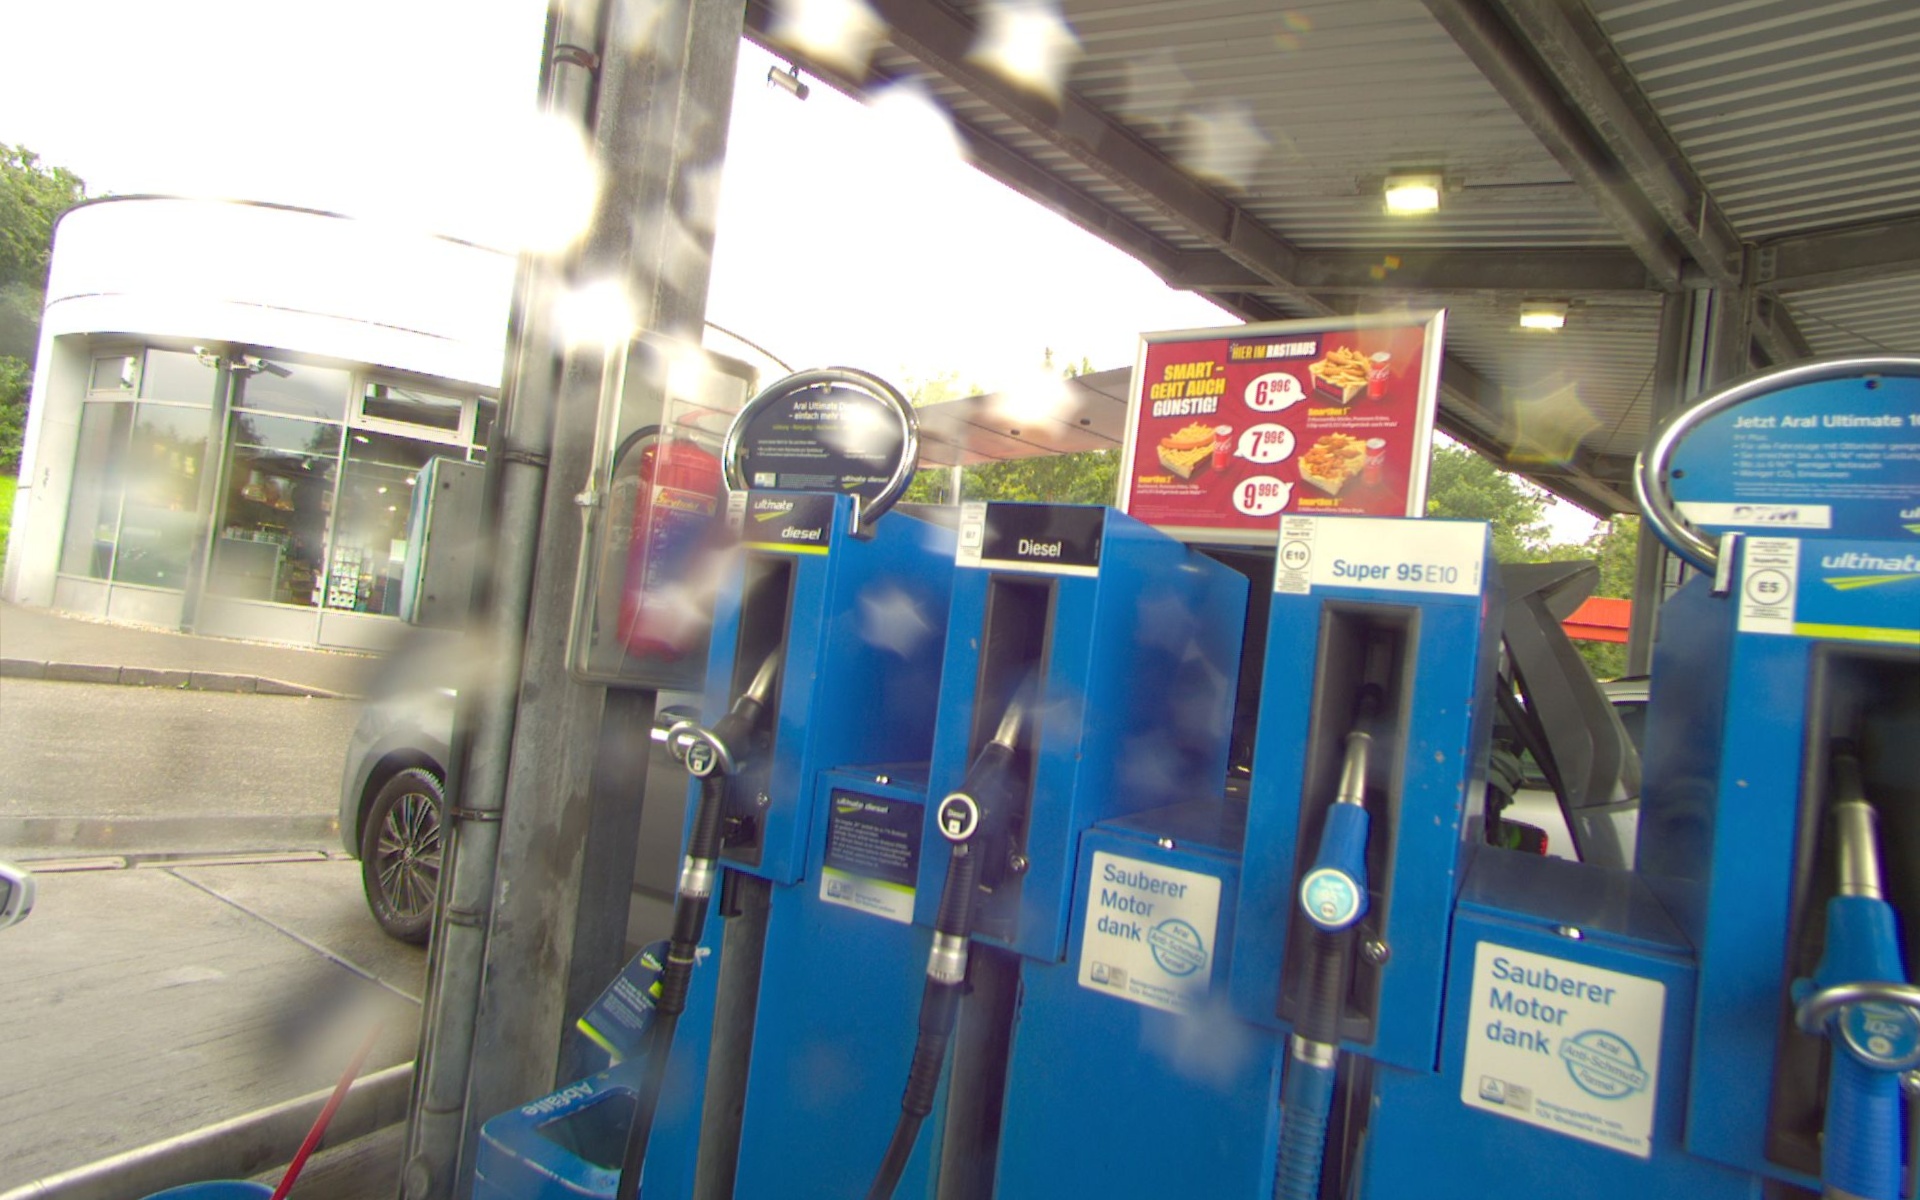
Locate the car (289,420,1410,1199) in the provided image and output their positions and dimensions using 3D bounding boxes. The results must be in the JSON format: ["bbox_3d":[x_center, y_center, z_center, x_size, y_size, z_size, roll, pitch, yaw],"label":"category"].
[{"bbox_3d":[-0.582,0.505,3.981,3.934,1.971,1.819,7,-1,32],"label":"car"}]

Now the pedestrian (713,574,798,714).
[{"bbox_3d":[-2.768,0.580,13.583,0.786,1.755,0.835,7,0,-23],"label":"pedestrian"}]
